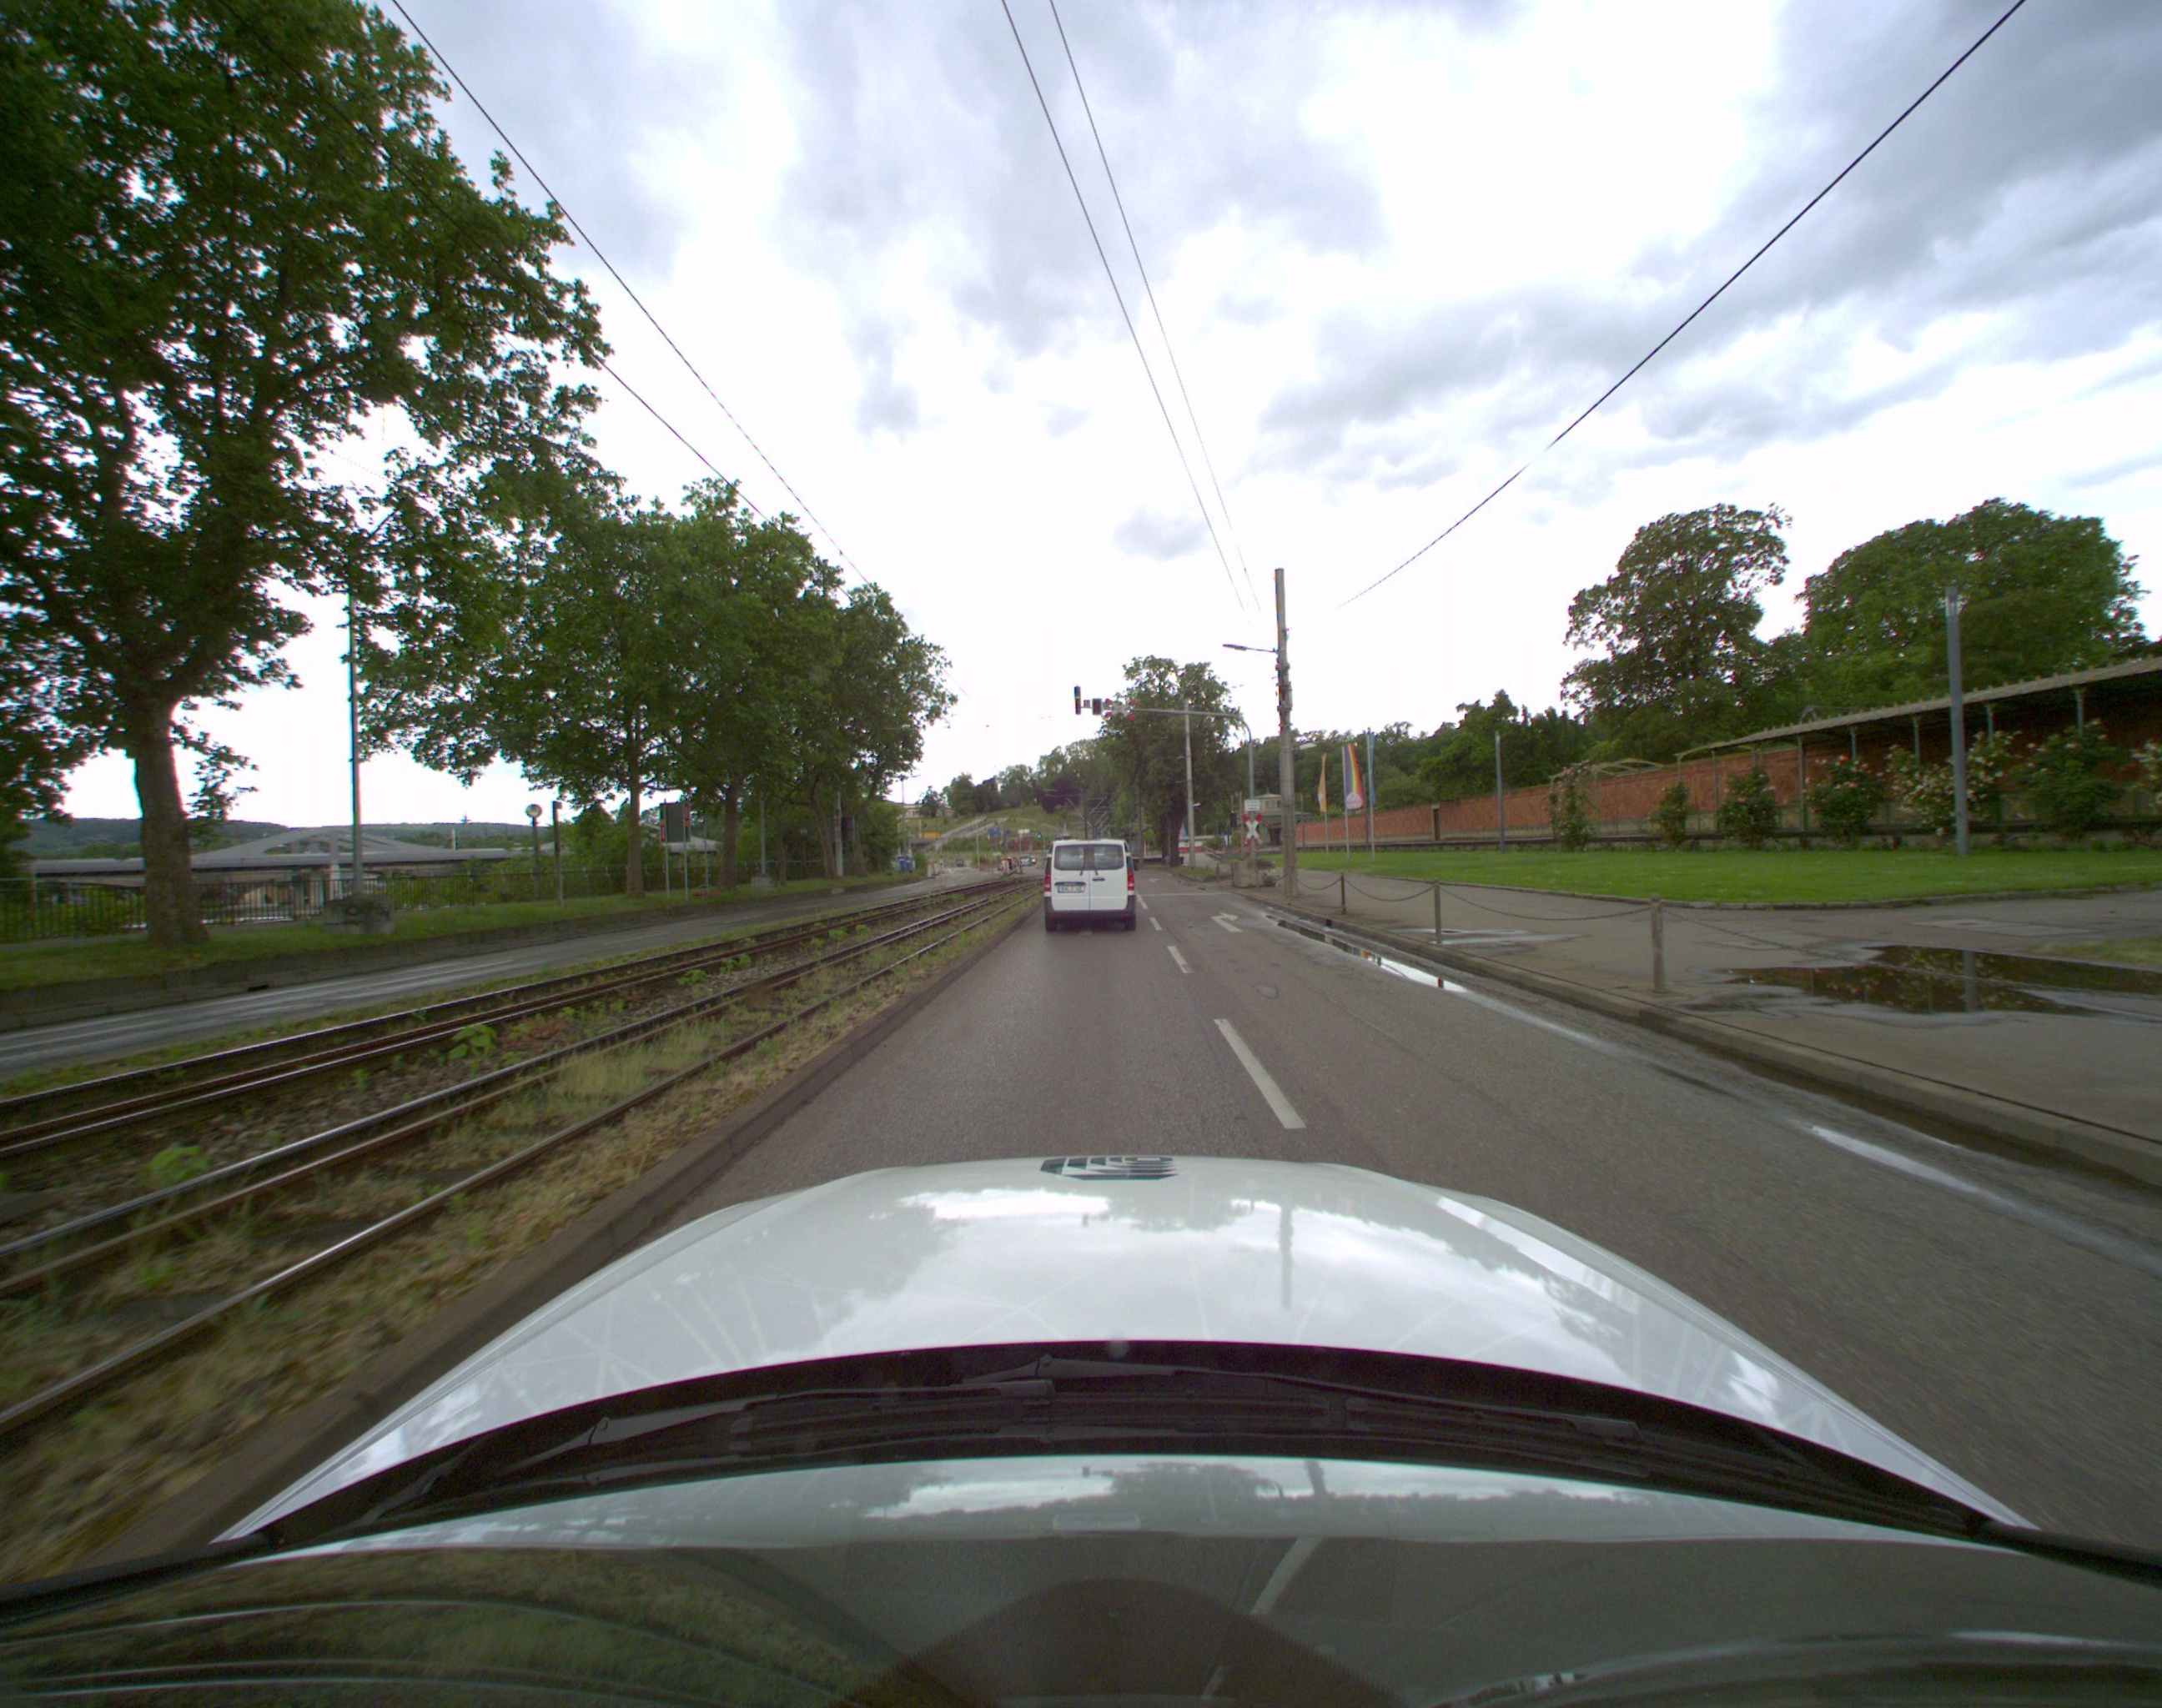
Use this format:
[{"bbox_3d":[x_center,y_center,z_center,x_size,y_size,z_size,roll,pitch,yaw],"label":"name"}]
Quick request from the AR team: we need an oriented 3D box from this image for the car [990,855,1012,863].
[{"bbox_3d":[-18.561,1.166,188.762,4.677,1.477,2.007,-4,0,12],"label":"car"}]

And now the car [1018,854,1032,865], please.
[{"bbox_3d":[-9.116,0.943,133.269,1.745,1.772,4.002,-1,-1,2],"label":"car"}]

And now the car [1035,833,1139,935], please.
[{"bbox_3d":[0.174,0.589,17.771,1.952,1.904,4.462,-1,-1,1],"label":"car"}]

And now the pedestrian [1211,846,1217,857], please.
[{"bbox_3d":[14.900,-0.296,91.202,0.547,1.201,0.668,0,-1,-4],"label":"pedestrian"}]

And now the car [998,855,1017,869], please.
[{"bbox_3d":[-8.585,0.931,94.487,1.838,1.467,4.048,-1,-1,-10],"label":"car"}]

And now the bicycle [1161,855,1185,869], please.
[{"bbox_3d":[8.128,0.705,71.996,1.981,1.158,0.742,-3,-1,6],"label":"bicycle"}]

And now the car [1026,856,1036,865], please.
[{"bbox_3d":[-11.056,1.491,180.078,1.929,2.014,3.997,-1,-1,-2],"label":"car"}]

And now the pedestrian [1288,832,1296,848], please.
[{"bbox_3d":[24.391,-1.636,94.167,0.943,1.838,0.551,-1,-1,11],"label":"pedestrian"}]

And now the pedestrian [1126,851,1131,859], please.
[{"bbox_3d":[7.661,0.129,131.278,0.654,1.191,0.676,-1,-1,4],"label":"pedestrian"}]
